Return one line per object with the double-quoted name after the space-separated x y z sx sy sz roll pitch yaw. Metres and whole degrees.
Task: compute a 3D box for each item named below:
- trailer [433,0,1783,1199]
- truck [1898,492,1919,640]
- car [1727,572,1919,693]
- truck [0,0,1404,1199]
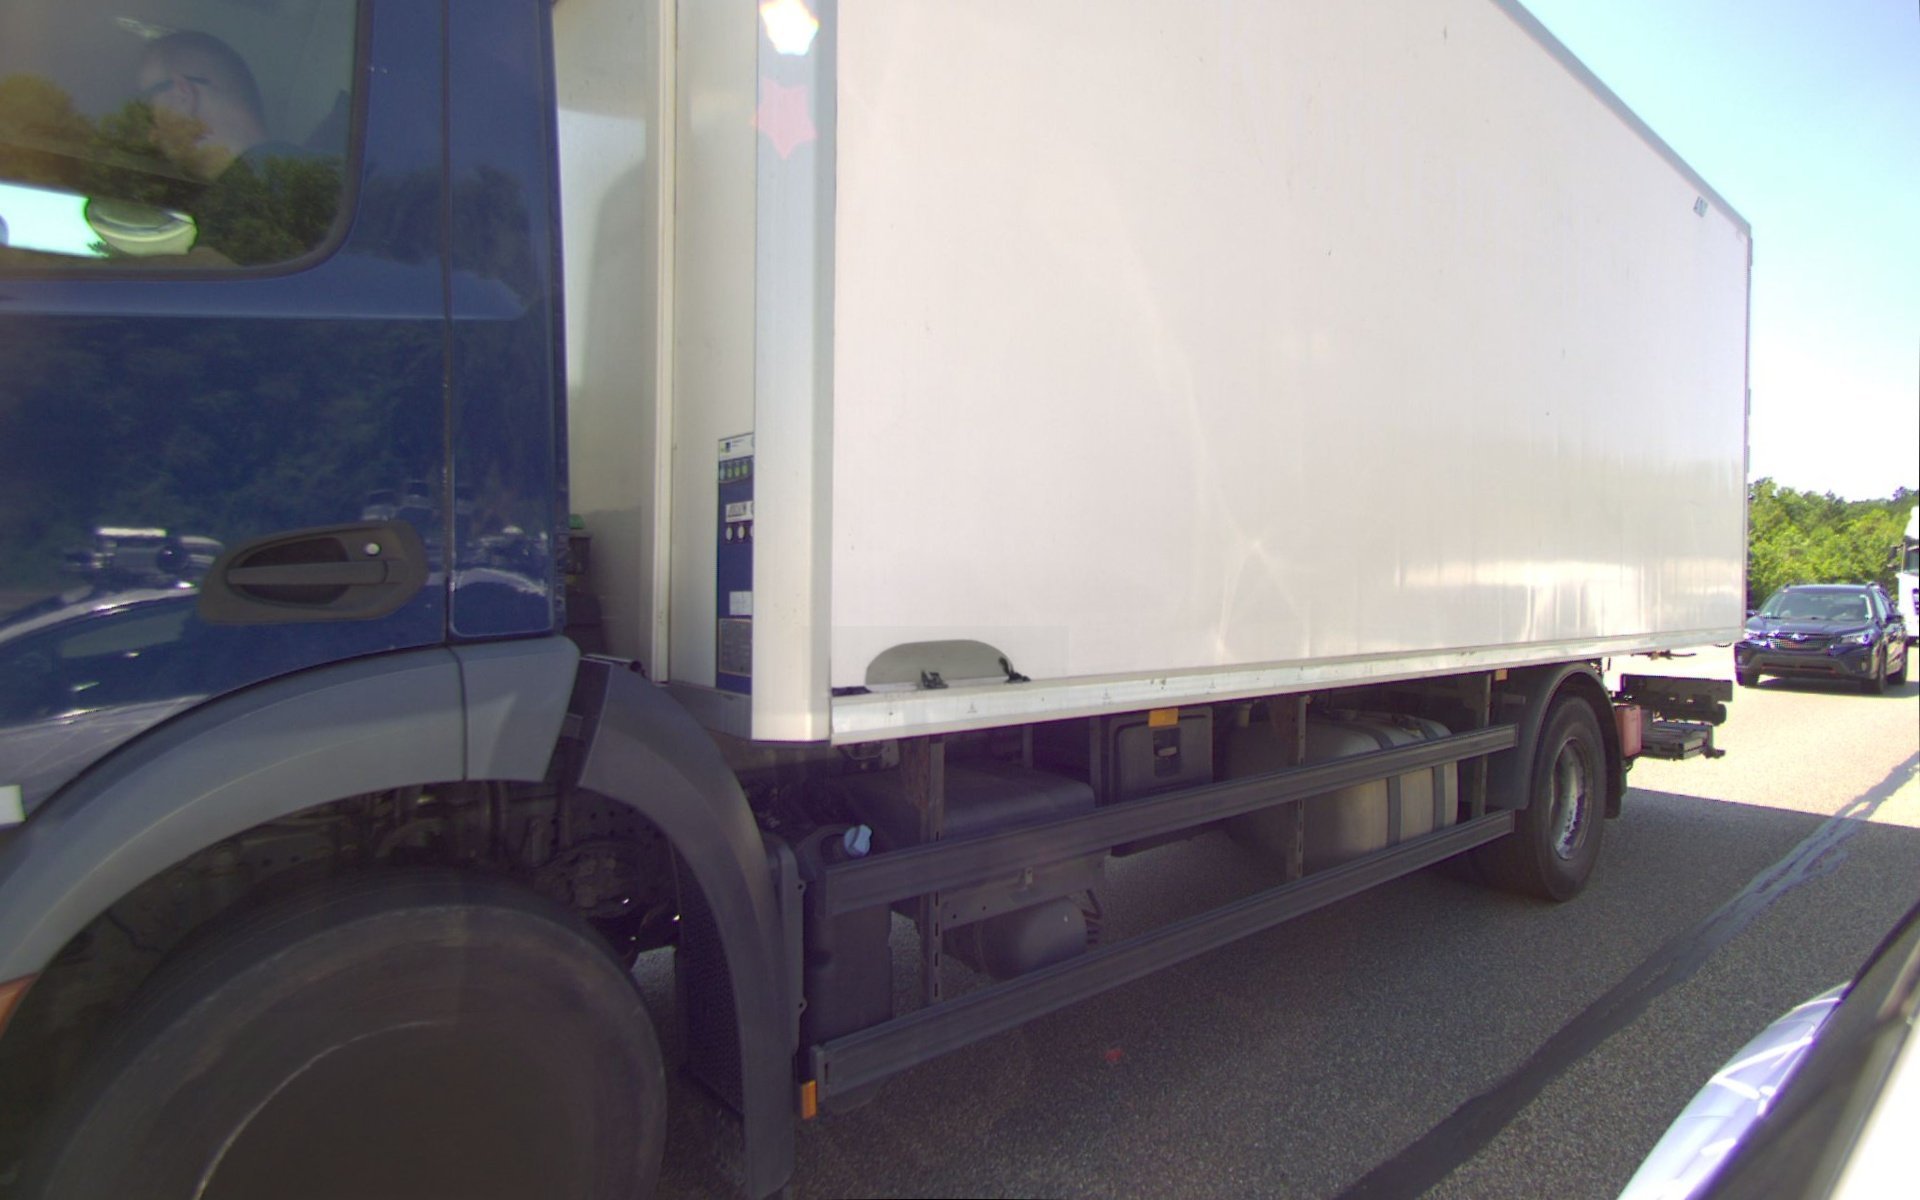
1.816 -0.134 5.277 7.744 2.936 2.560 0 0 -41 "trailer"
30.214 -1.015 29.926 7.205 4.135 2.765 -1 1 -40 "truck"
14.523 0.404 16.894 4.534 1.713 1.996 -1 3 -43 "car"
-0.993 -0.081 2.852 4.031 2.977 2.562 -1 2 -39 "truck"
